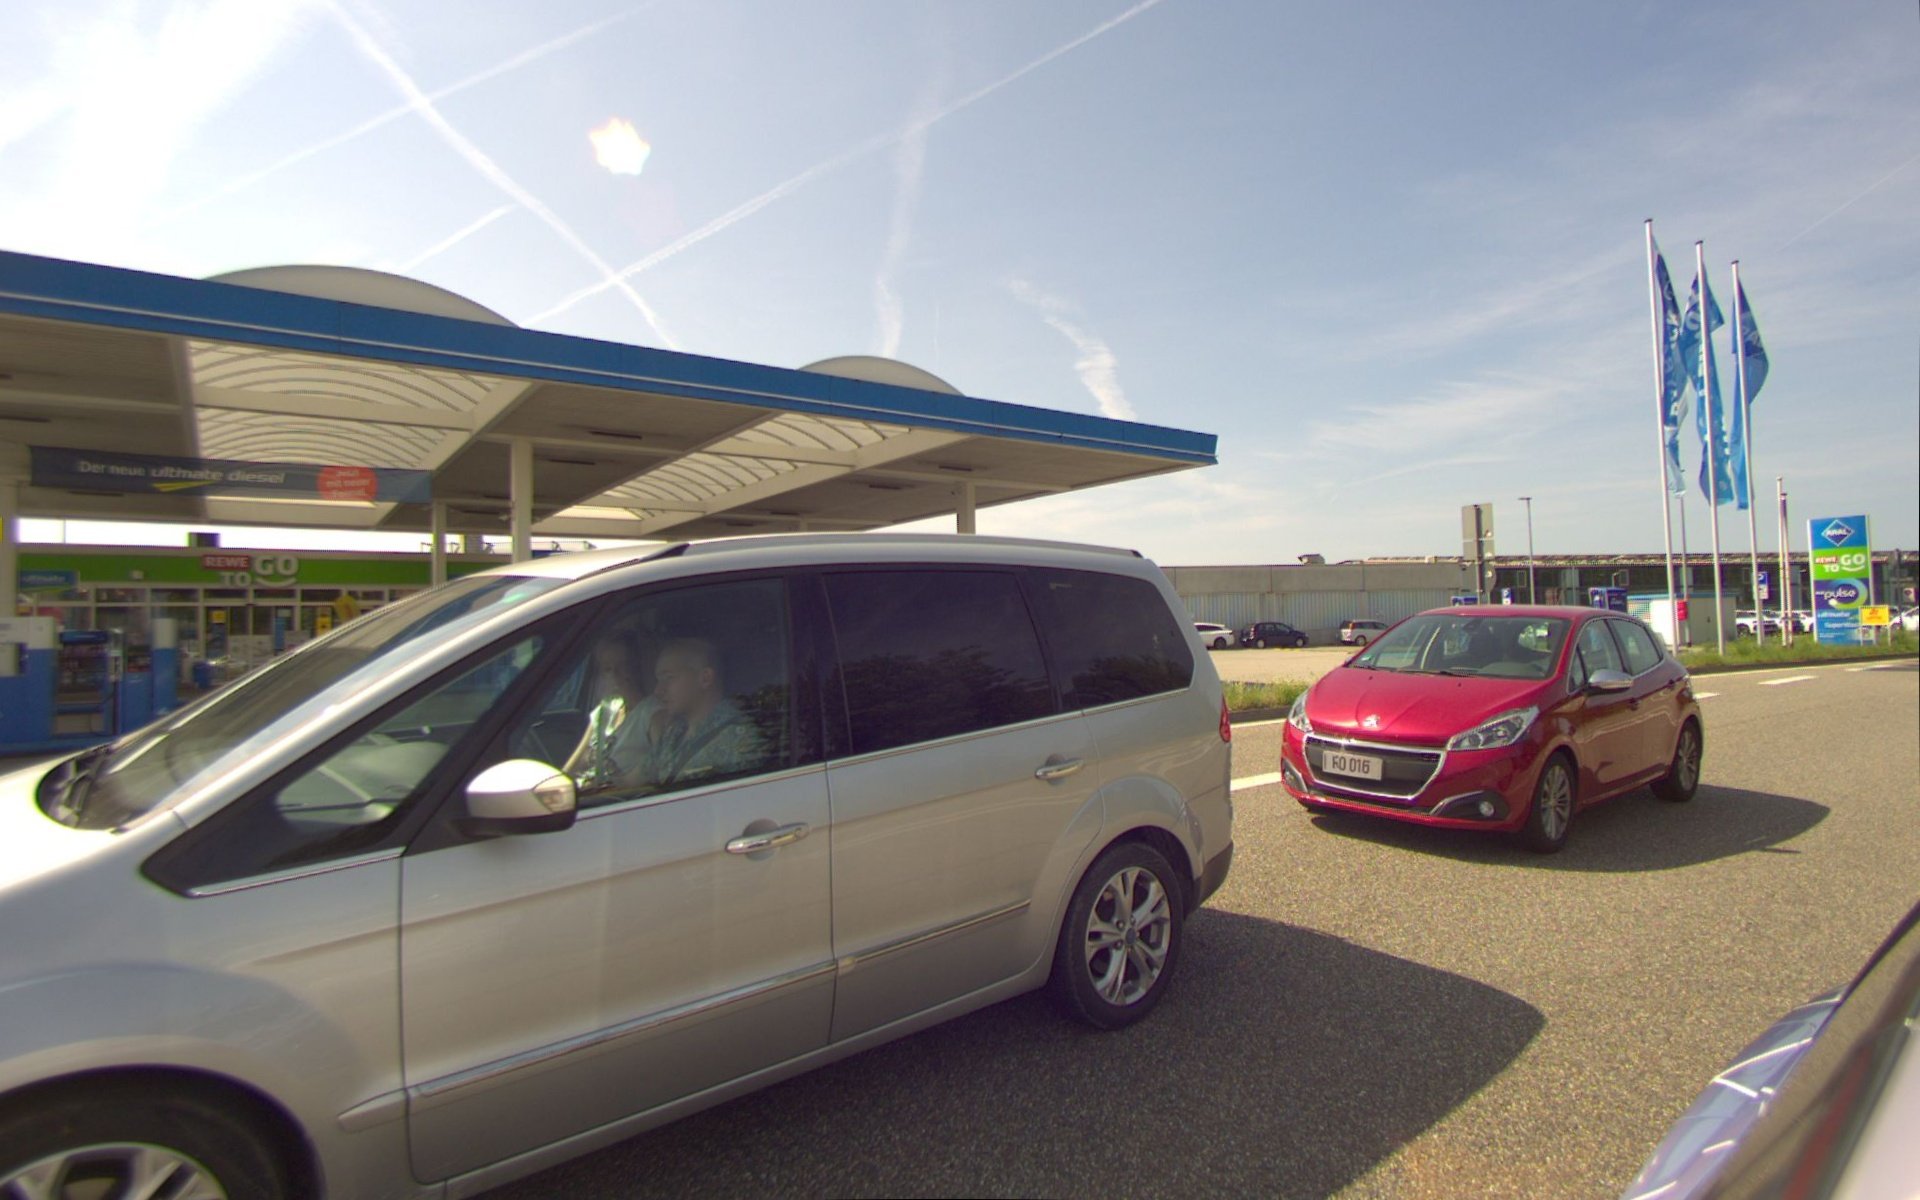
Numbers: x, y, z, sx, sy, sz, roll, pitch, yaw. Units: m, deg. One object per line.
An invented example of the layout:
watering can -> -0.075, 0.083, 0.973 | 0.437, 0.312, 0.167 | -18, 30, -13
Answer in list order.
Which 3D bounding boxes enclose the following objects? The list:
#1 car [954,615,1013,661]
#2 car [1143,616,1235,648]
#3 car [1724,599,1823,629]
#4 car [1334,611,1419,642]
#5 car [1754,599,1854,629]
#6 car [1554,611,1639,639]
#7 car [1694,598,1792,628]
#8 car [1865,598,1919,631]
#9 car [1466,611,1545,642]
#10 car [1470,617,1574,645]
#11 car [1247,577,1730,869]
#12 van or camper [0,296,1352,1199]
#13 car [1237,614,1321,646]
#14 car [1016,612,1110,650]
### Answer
car -> 0.966, 1.600, 43.699 | 1.852, 1.849, 4.177 | -1, -1, -8
car -> 12.446, 1.744, 55.032 | 4.436, 1.625, 1.893 | -1, -1, -12
car -> 47.736, 0.857, 59.484 | 1.785, 1.659, 4.471 | 1, -2, -8
car -> 23.478, 1.494, 57.093 | 3.941, 1.625, 1.892 | -1, -1, -5
car -> 49.679, 0.858, 59.691 | 1.785, 1.659, 4.471 | 1, -2, -8
car -> 35.577, 1.413, 56.678 | 1.785, 1.477, 4.050 | 1, -2, -8
car -> 45.705, 0.780, 59.201 | 1.785, 1.659, 4.471 | 1, -2, -8
car -> 49.431, 0.771, 51.868 | 1.784, 1.659, 4.265 | 1, -2, -14
car -> 30.094, 1.463, 55.980 | 1.852, 1.625, 4.025 | -1, -1, -6
car -> 27.393, 1.503, 49.430 | 4.062, 1.269, 1.692 | -1, -1, 13
car -> 3.942, 0.658, 7.357 | 3.646, 1.592, 1.805 | 0, 0, -38
van or camper -> -0.769, 0.434, 3.445 | 5.043, 1.810, 1.749 | 0, -2, -41
car -> 17.666, 1.656, 56.160 | 3.938, 1.625, 1.893 | -1, -1, -9
car -> 5.458, 1.636, 53.686 | 4.558, 1.849, 1.893 | -1, -1, -14
